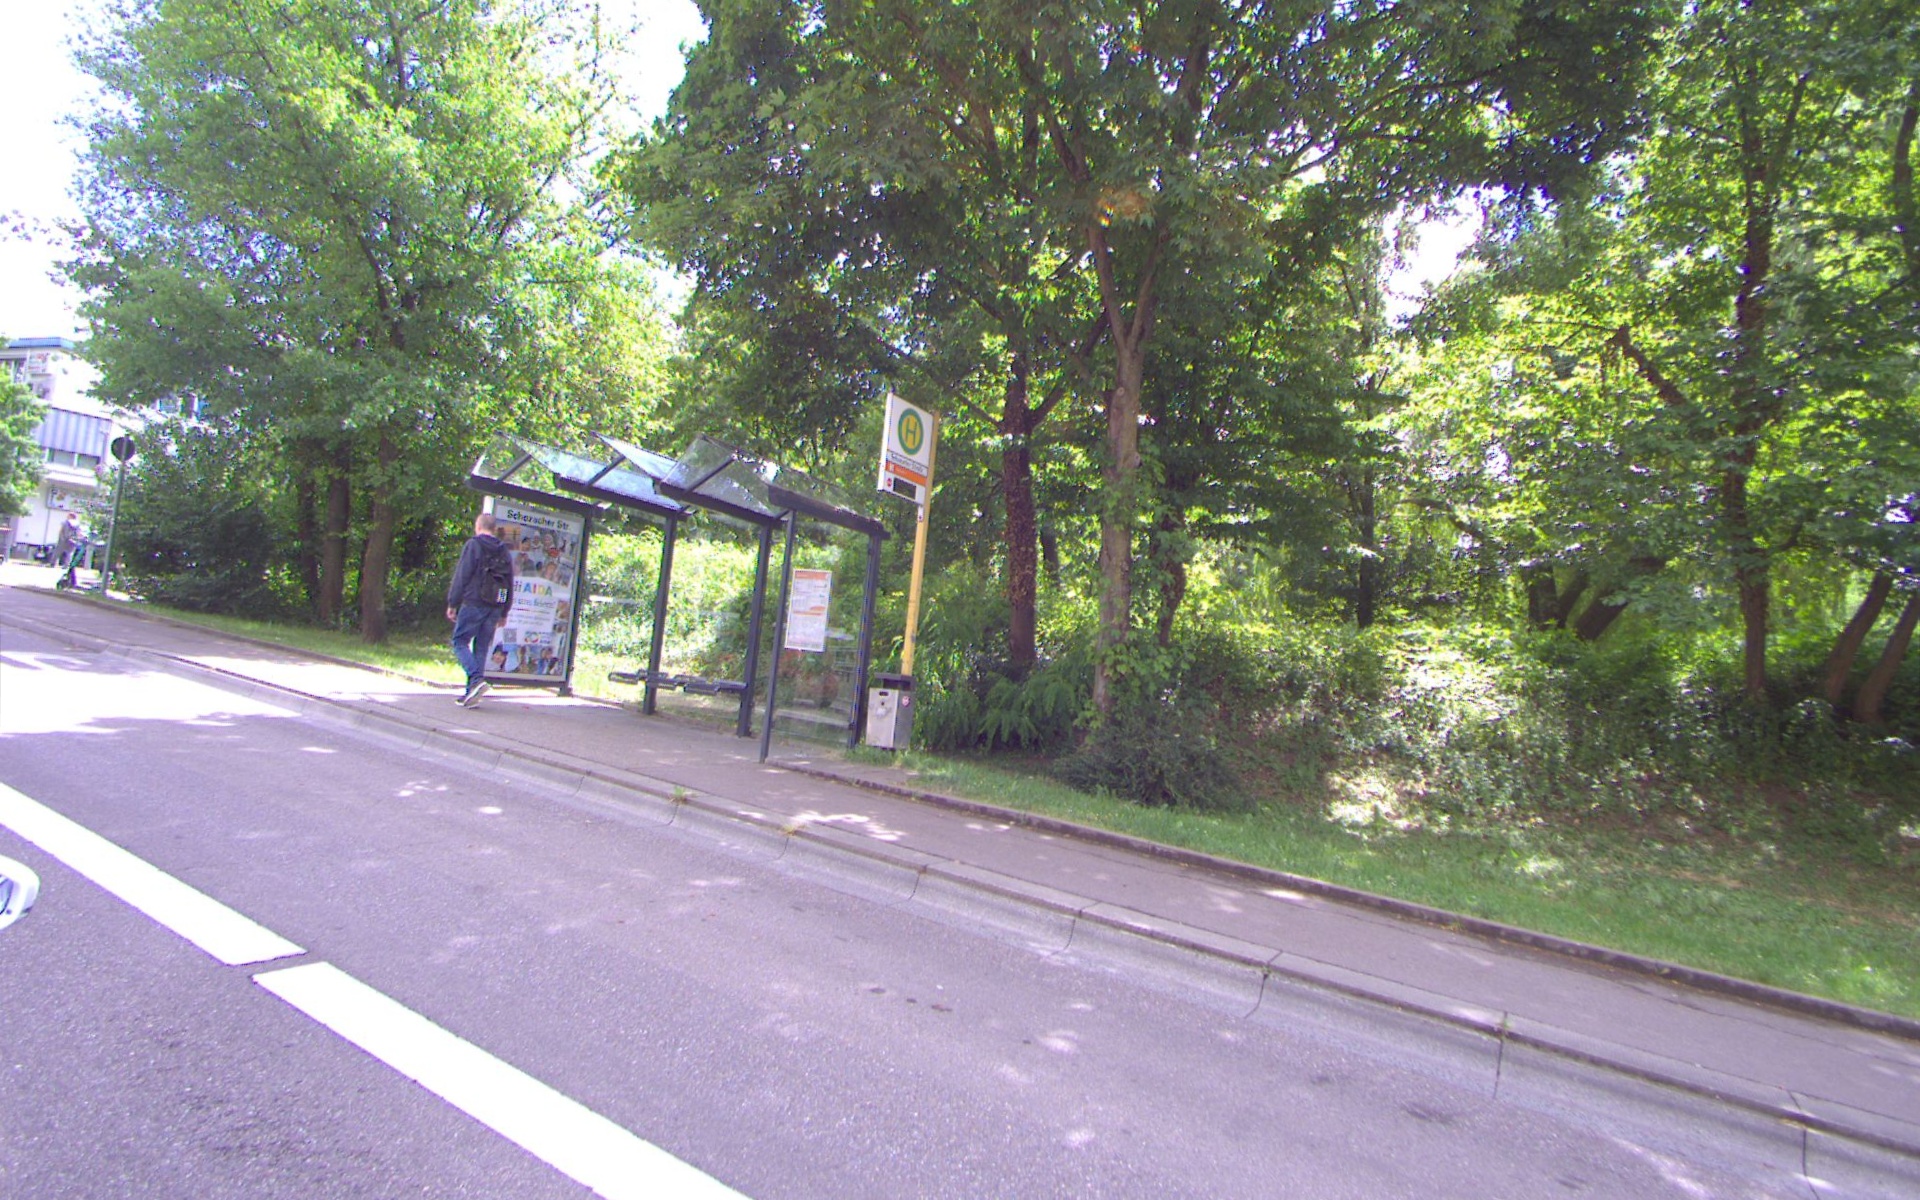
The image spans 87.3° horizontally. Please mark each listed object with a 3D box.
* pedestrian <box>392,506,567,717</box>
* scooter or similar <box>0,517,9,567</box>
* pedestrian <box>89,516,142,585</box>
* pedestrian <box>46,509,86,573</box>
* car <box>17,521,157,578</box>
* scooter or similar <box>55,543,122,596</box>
[{"bbox_3d":[-4.774,0.111,10.005,1.250,1.916,0.803,6,-2,33],"label":"pedestrian"},{"bbox_3d":[-25.163,-1.559,25.697,0.326,1.273,1.111,7,-1,20],"label":"scooter or similar"},{"bbox_3d":[-24.052,-1.406,28.668,0.753,1.808,0.566,11,-4,-23],"label":"pedestrian"},{"bbox_3d":[-26.868,-1.758,30.252,0.611,1.808,0.562,12,-5,-40],"label":"pedestrian"},{"bbox_3d":[-33.666,-1.927,38.904,1.679,1.619,3.592,6,-2,20],"label":"car"},{"bbox_3d":[-20.473,-0.715,23.663,0.325,1.112,1.153,7,-2,9],"label":"scooter or similar"}]
